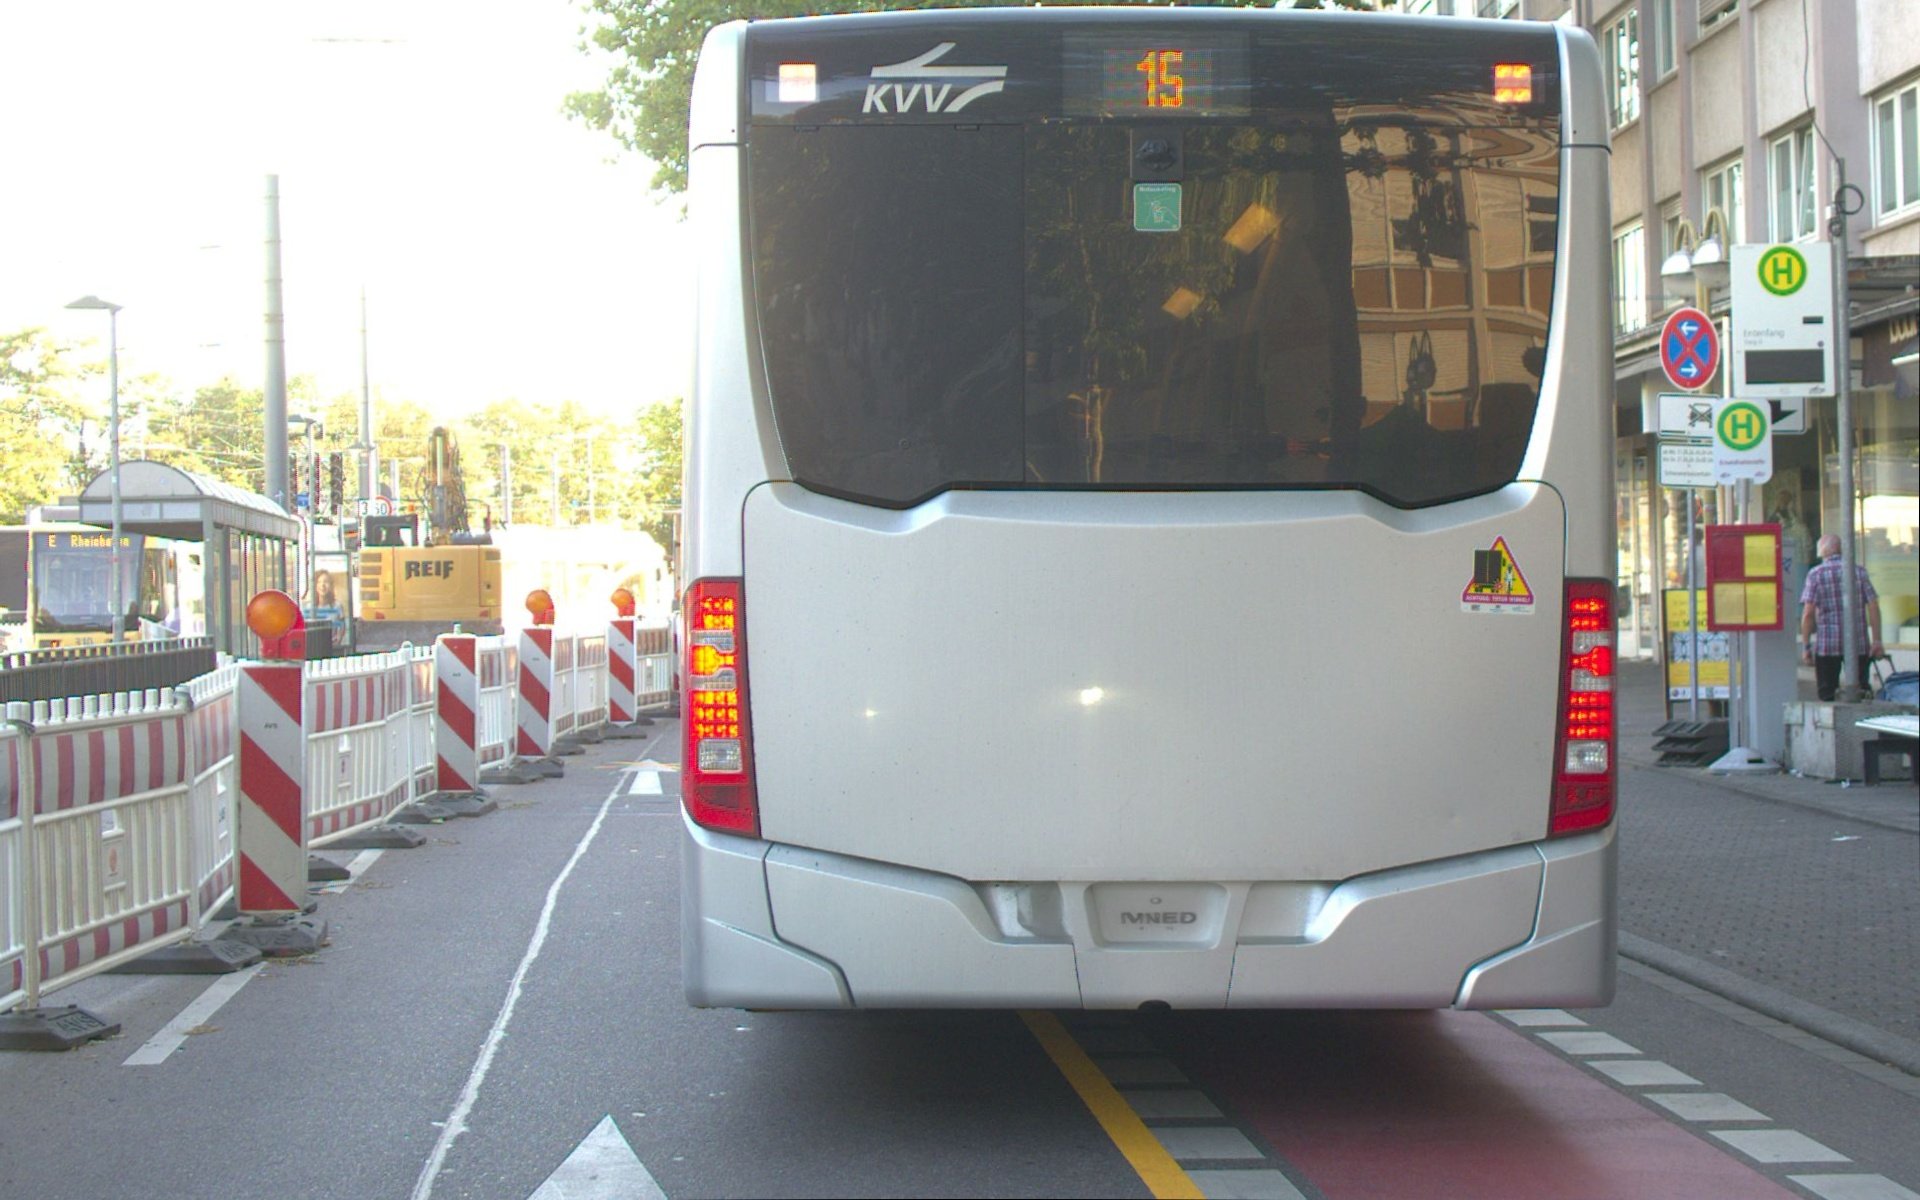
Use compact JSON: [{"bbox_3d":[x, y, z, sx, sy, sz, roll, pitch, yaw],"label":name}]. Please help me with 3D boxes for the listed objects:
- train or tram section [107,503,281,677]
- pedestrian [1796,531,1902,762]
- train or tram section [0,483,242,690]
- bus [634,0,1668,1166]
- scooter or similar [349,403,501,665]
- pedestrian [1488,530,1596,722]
[{"bbox_3d":[-16.838,-0.218,76.280,2.686,3.546,11.584,1,0,-7],"label":"train or tram section"},{"bbox_3d":[6.582,0.341,25.440,0.664,1.661,0.600,-3,0,16],"label":"pedestrian"},{"bbox_3d":[-15.568,-0.233,64.655,2.686,3.522,11.773,1,0,-5],"label":"train or tram section"},{"bbox_3d":[0.488,-0.132,12.823,2.611,3.115,7.993,1,0,0],"label":"bus"},{"bbox_3d":[-9.570,-1.142,61.936,2.468,4.455,5.974,-1,0,-7],"label":"scooter or similar"},{"bbox_3d":[5.214,0.229,30.767,0.878,1.685,0.619,-1,0,15],"label":"pedestrian"}]
